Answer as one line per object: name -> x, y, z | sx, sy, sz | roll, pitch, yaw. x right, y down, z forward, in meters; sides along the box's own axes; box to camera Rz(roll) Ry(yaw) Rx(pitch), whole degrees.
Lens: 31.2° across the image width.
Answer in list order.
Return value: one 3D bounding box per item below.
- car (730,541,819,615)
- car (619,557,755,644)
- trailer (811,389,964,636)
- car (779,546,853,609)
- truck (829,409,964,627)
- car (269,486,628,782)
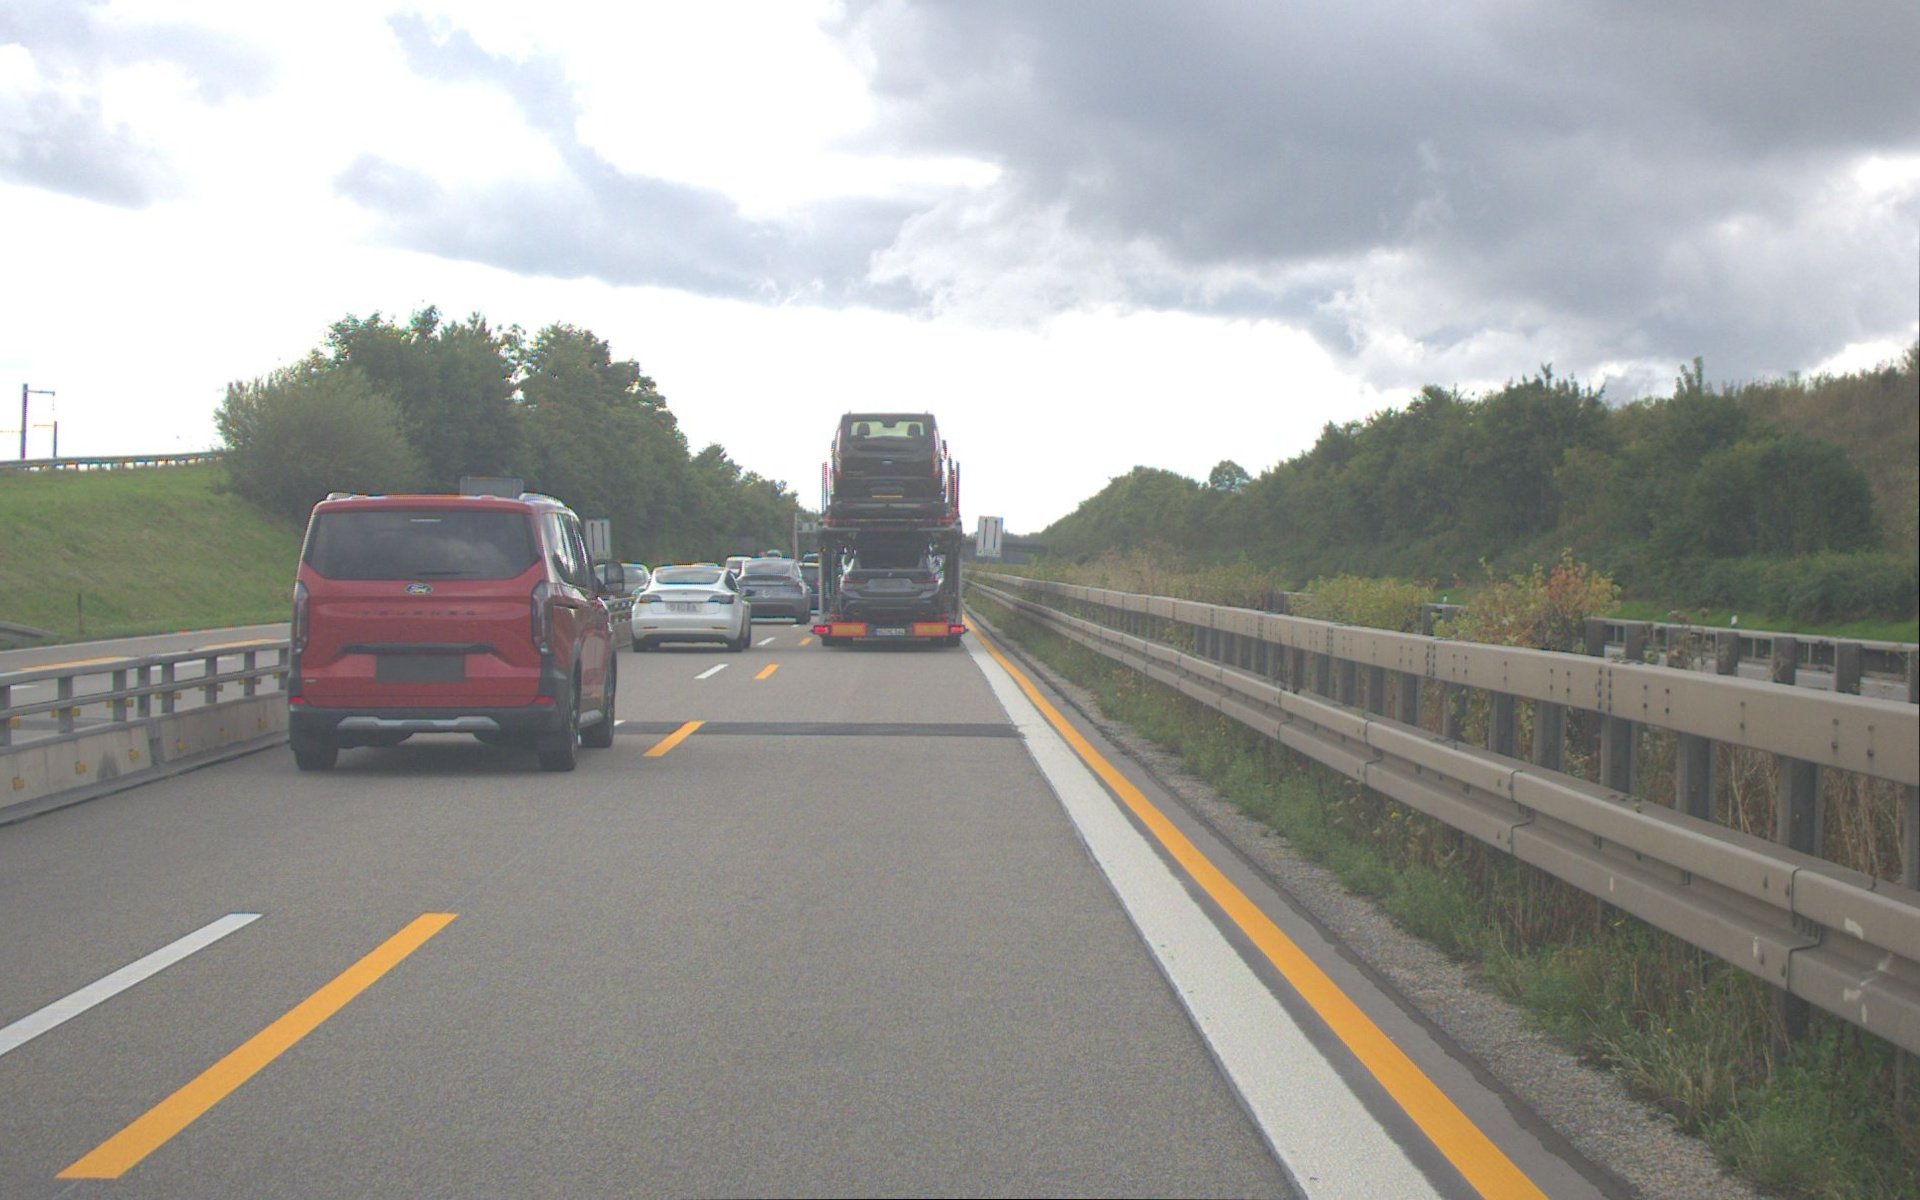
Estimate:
car -> -4.529, -0.559, 84.312 | 2.031, 1.751, 4.578 | 0, 1, -1
car -> -4.605, -0.019, 58.530 | 2.031, 1.426, 4.578 | 0, 1, -1
trailer -> -1.199, -1.527, 62.709 | 2.515, 4.091, 11.113 | 0, 1, 0
car -> -4.086, -0.659, 98.180 | 2.031, 1.751, 4.578 | 0, 1, -1
truck -> -1.201, -1.585, 67.554 | 2.515, 4.091, 5.685 | 0, 1, 0
car -> -3.696, 0.198, 25.643 | 2.031, 2.007, 4.578 | 0, 1, -1
